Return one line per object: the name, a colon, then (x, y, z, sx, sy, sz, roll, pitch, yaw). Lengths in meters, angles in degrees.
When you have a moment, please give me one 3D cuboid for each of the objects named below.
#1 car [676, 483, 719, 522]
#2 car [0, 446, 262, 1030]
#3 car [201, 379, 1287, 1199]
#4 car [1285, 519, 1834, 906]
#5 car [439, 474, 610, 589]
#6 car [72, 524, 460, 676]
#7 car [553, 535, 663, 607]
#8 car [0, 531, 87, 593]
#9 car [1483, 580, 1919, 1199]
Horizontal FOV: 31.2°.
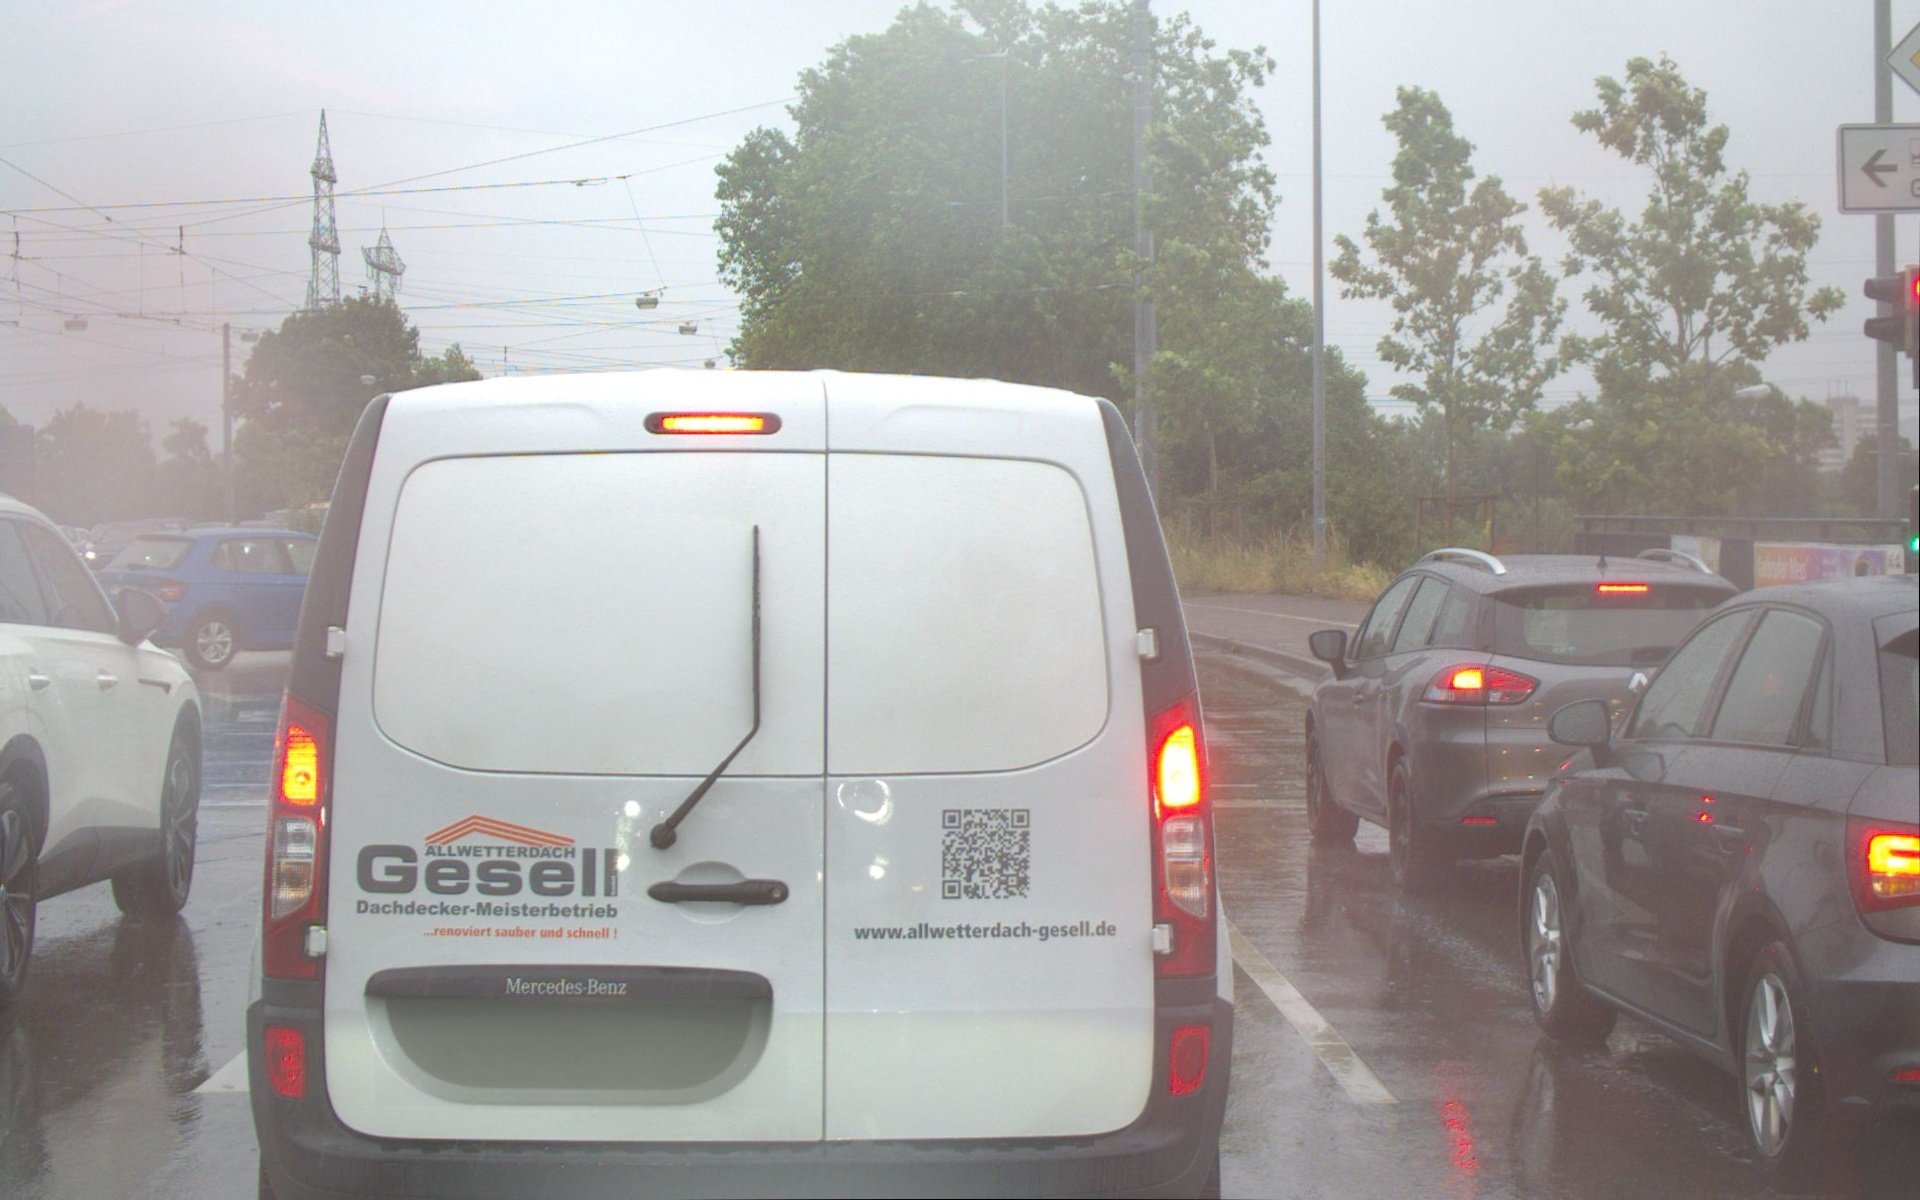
car: (-12.473, -4.633, 163.820, 1.947, 1.656, 4.465, 2, 0, -4)
car: (-3.882, 0.379, 12.070, 1.930, 1.769, 4.664, 1, 1, -1)
car: (-0.495, 0.460, 7.685, 1.754, 1.744, 4.170, 1, 2, -4)
car: (2.559, 0.419, 15.566, 1.684, 1.503, 3.921, 1, 1, -1)
car: (-6.874, -1.070, 54.608, 1.702, 1.668, 3.796, 4, 1, 8)
car: (-7.403, 0.011, 36.853, 3.733, 1.502, 1.650, 2, 1, -44)
car: (-7.482, -0.619, 73.301, 1.645, 1.393, 3.453, 3, 1, 5)
car: (-22.541, -0.923, 83.895, 1.559, 1.421, 3.569, 2, 0, -1)
car: (2.523, 0.638, 8.947, 1.597, 1.362, 3.631, -1, 0, -3)
